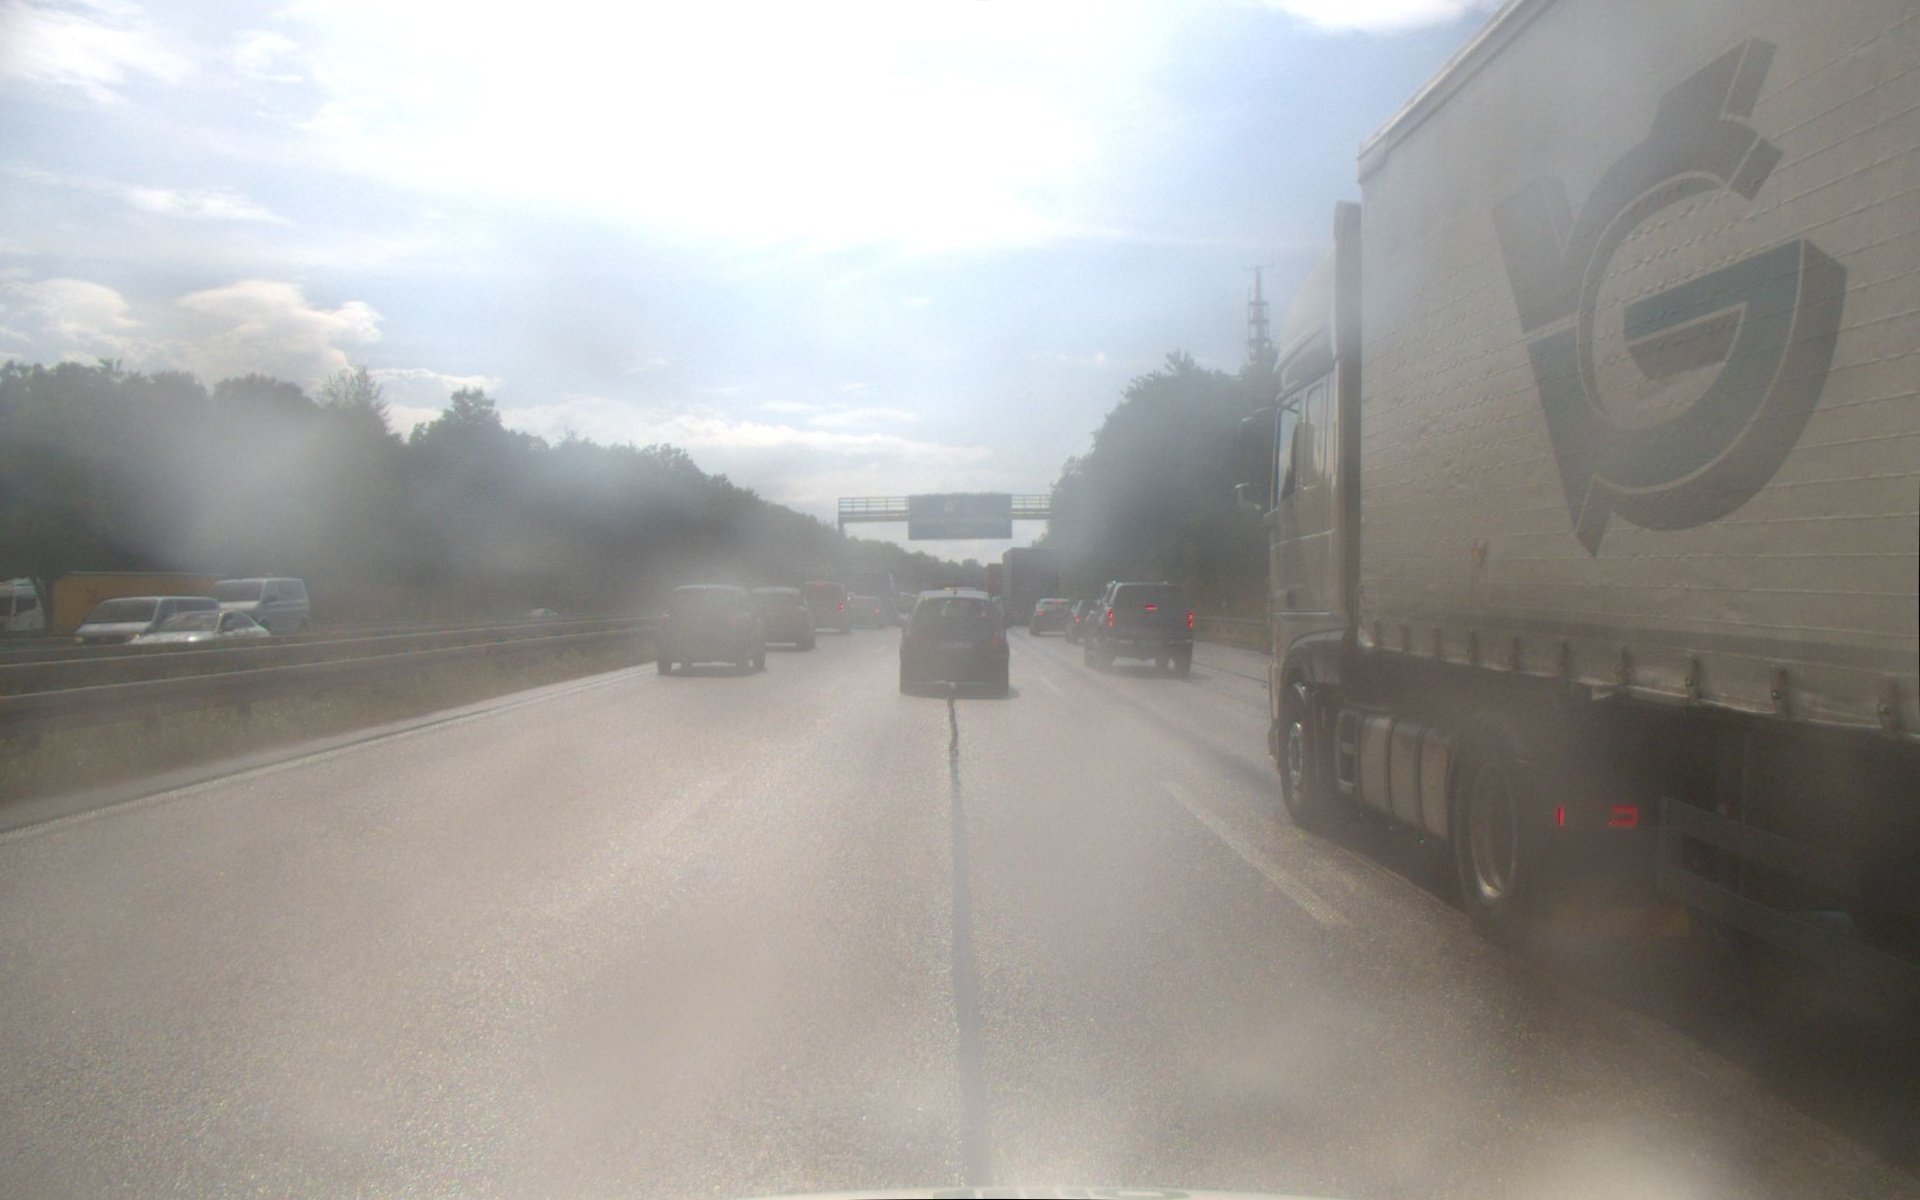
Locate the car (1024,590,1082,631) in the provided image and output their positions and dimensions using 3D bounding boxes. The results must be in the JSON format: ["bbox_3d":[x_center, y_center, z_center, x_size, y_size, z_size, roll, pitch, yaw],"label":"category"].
[{"bbox_3d":[3.602,0.409,64.613,1.827,1.542,3.974,1,0,-3],"label":"car"}]

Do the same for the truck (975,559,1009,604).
[{"bbox_3d":[2.674,-1.500,140.617,2.718,3.695,5.916,1,0,0],"label":"truck"}]

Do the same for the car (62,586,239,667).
[{"bbox_3d":[-20.627,0.651,42.432,2.005,1.924,5.258,1,0,-1],"label":"car"}]

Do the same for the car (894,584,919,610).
[{"bbox_3d":[-4.526,-0.252,141.099,1.953,2.152,4.888,1,0,0],"label":"car"}]

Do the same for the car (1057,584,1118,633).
[{"bbox_3d":[4.160,0.276,54.541,1.559,1.542,3.974,1,0,-2],"label":"car"}]

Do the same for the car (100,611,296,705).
[{"bbox_3d":[-16.943,1.232,37.113,2.005,1.924,5.258,1,0,-1],"label":"car"}]

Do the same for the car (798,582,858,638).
[{"bbox_3d":[-5.116,0.403,64.715,1.938,2.090,4.756,1,0,0],"label":"car"}]

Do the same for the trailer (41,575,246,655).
[{"bbox_3d":[-45.452,0.833,92.757,3.707,4.189,11.735,1,0,13],"label":"trailer"}]

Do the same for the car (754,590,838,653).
[{"bbox_3d":[-4.534,0.580,46.369,1.869,1.665,4.616,-1,0,0],"label":"car"}]

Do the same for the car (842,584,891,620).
[{"bbox_3d":[-4.241,0.102,75.748,1.953,1.592,4.756,1,0,0],"label":"car"}]

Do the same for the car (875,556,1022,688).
[{"bbox_3d":[-0.248,0.352,27.739,2.228,1.989,4.819,1,0,-2],"label":"car"}]

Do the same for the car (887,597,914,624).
[{"bbox_3d":[-4.824,0.863,133.803,1.953,2.152,4.888,1,0,0],"label":"car"}]

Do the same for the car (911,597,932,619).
[{"bbox_3d":[-3.903,0.827,168.412,1.953,2.152,4.888,1,0,0],"label":"car"}]

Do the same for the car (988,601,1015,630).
[{"bbox_3d":[3.176,1.197,127.353,1.953,2.152,4.888,1,0,0],"label":"car"}]

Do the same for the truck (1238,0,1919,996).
[{"bbox_3d":[3.821,-0.510,9.377,3.218,3.959,6.394,1,0,-1],"label":"truck"}]

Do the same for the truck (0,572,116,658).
[{"bbox_3d":[-47.325,0.764,84.528,3.707,4.189,7.051,1,0,13],"label":"truck"}]

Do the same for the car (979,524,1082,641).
[{"bbox_3d":[3.716,-0.864,93.493,4.315,5.932,16.809,1,0,-2],"label":"car"}]

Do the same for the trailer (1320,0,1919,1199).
[{"bbox_3d":[3.957,-0.468,2.896,3.217,3.967,14.124,1,0,-1],"label":"trailer"}]

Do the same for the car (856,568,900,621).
[{"bbox_3d":[-4.227,-0.263,85.998,1.953,2.661,5.259,1,0,0],"label":"car"}]

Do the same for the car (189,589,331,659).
[{"bbox_3d":[-20.639,0.686,49.049,2.005,1.924,5.258,1,0,-1],"label":"car"}]

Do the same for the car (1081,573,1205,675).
[{"bbox_3d":[3.764,0.484,35.025,1.902,1.952,5.651,1,0,-1],"label":"car"}]

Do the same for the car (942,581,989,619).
[{"bbox_3d":[0.195,0.004,70.782,1.827,1.542,3.974,1,0,-3],"label":"car"}]

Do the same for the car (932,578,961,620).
[{"bbox_3d":[-0.898,-0.062,115.753,1.953,2.794,5.259,1,0,0],"label":"car"}]

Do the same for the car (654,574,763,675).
[{"bbox_3d":[-4.873,0.460,32.487,1.658,1.836,3.974,1,0,-2],"label":"car"}]
